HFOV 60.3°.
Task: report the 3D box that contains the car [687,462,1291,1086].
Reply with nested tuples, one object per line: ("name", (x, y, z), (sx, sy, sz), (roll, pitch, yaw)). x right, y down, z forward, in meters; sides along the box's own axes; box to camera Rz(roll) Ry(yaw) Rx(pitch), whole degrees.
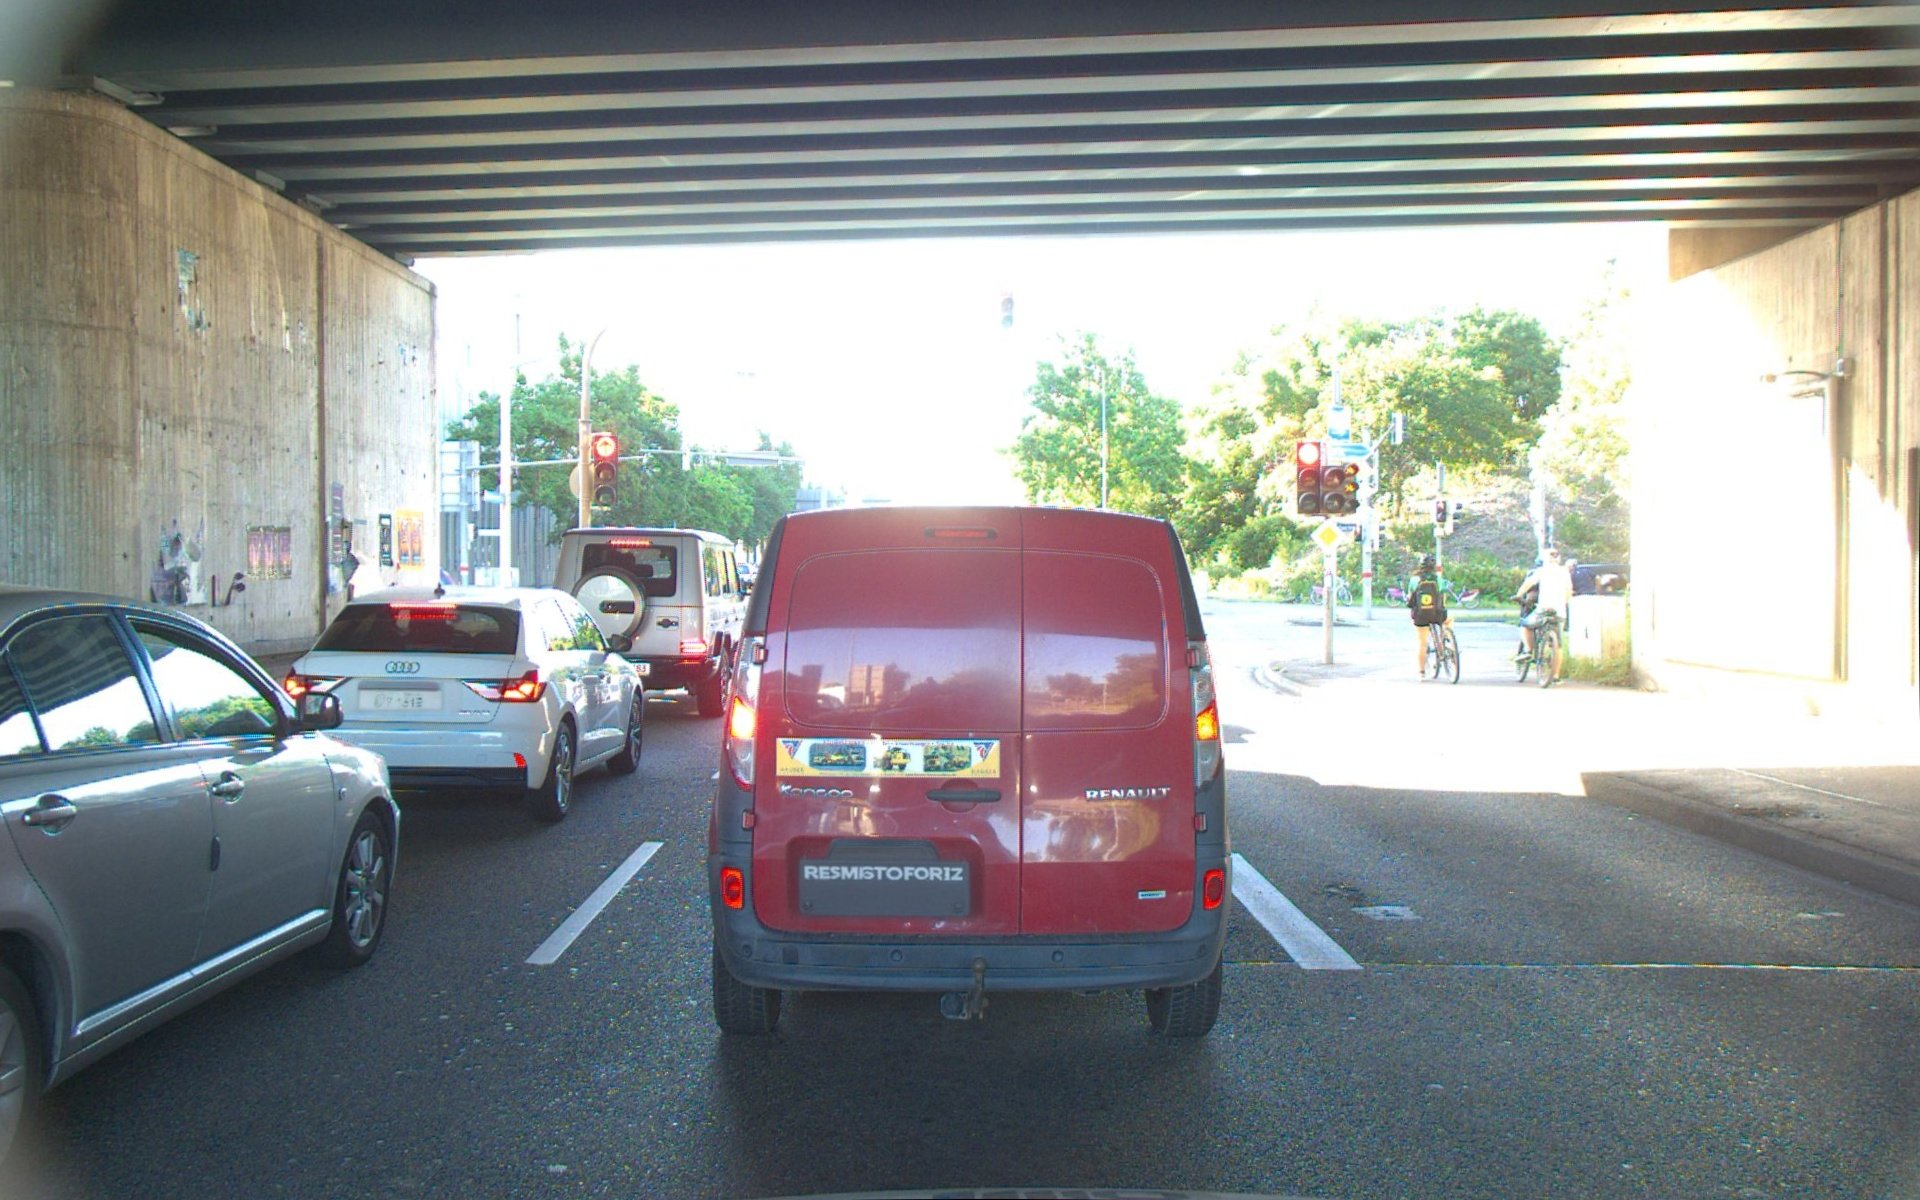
("car", (0.063, 0.527, 6.909), (1.768, 1.826, 3.999), (1, 0, -1))

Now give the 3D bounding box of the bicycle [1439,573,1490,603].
("bicycle", (18.360, -0.443, 60.211), (1.707, 1.041, 0.594), (1, 0, 10))

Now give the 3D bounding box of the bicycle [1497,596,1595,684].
("bicycle", (7.331, 0.486, 20.780), (0.579, 1.041, 1.750), (1, 0, -1))

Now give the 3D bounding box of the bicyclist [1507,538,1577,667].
("bicyclist", (7.311, 0.033, 20.791), (0.580, 1.575, 0.769), (1, -1, -1))

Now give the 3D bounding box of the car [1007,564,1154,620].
("car", (3.247, -0.223, 44.761), (3.678, 1.473, 1.691), (0, 0, -11))

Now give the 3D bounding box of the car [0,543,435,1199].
("car", (-3.004, 0.622, 4.843), (1.698, 1.506, 4.317), (0, 0, -2))

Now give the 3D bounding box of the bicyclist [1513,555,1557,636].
("bicyclist", (10.846, -0.090, 31.195), (0.650, 1.500, 0.752), (1, -1, 10))

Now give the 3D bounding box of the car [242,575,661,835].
("car", (-3.250, 0.576, 11.342), (1.777, 1.463, 3.730), (1, 1, -1))

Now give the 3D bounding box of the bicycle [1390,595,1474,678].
("bicycle", (6.213, 0.471, 21.843), (0.579, 1.041, 1.750), (1, 0, -1))

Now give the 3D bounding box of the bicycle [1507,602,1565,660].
("bicycle", (10.831, 0.572, 31.155), (0.657, 1.041, 2.057), (1, 0, 9))

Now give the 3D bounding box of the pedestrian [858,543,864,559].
("pedestrian", (-12.457, -6.186, 208.155), (0.724, 2.049, 0.638), (1, -1, 3))

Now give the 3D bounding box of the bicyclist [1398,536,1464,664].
("bicyclist", (6.206, 0.001, 21.828), (0.580, 1.642, 0.942), (1, 0, -1))

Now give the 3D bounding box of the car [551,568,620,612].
("car", (-16.111, -0.445, 71.377), (1.787, 1.768, 4.630), (-2, 1, 1))

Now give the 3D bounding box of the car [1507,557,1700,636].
("car", (14.637, -0.077, 37.657), (3.904, 1.736, 1.717), (0, 0, -17))

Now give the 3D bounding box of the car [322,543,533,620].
("car", (-11.245, -0.354, 35.277), (1.785, 1.540, 4.562), (1, 0, 22))

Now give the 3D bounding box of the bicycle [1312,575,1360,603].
("bicycle", (14.210, -0.423, 62.594), (1.707, 1.041, 0.594), (1, 0, 8))

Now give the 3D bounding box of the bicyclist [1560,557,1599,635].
("bicyclist", (12.174, -0.081, 32.531), (0.635, 1.506, 0.619), (1, 1, 14))

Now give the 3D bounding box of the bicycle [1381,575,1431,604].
("bicycle", (16.477, -0.390, 61.166), (1.707, 1.041, 0.594), (1, 0, 8))

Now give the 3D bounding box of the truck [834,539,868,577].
("truck", (-9.380, -3.572, 142.541), (2.360, 3.079, 6.657), (-2, 1, 0))

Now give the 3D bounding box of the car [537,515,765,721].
("car", (-3.352, 0.188, 18.806), (1.764, 2.023, 4.588), (1, 0, -1))
